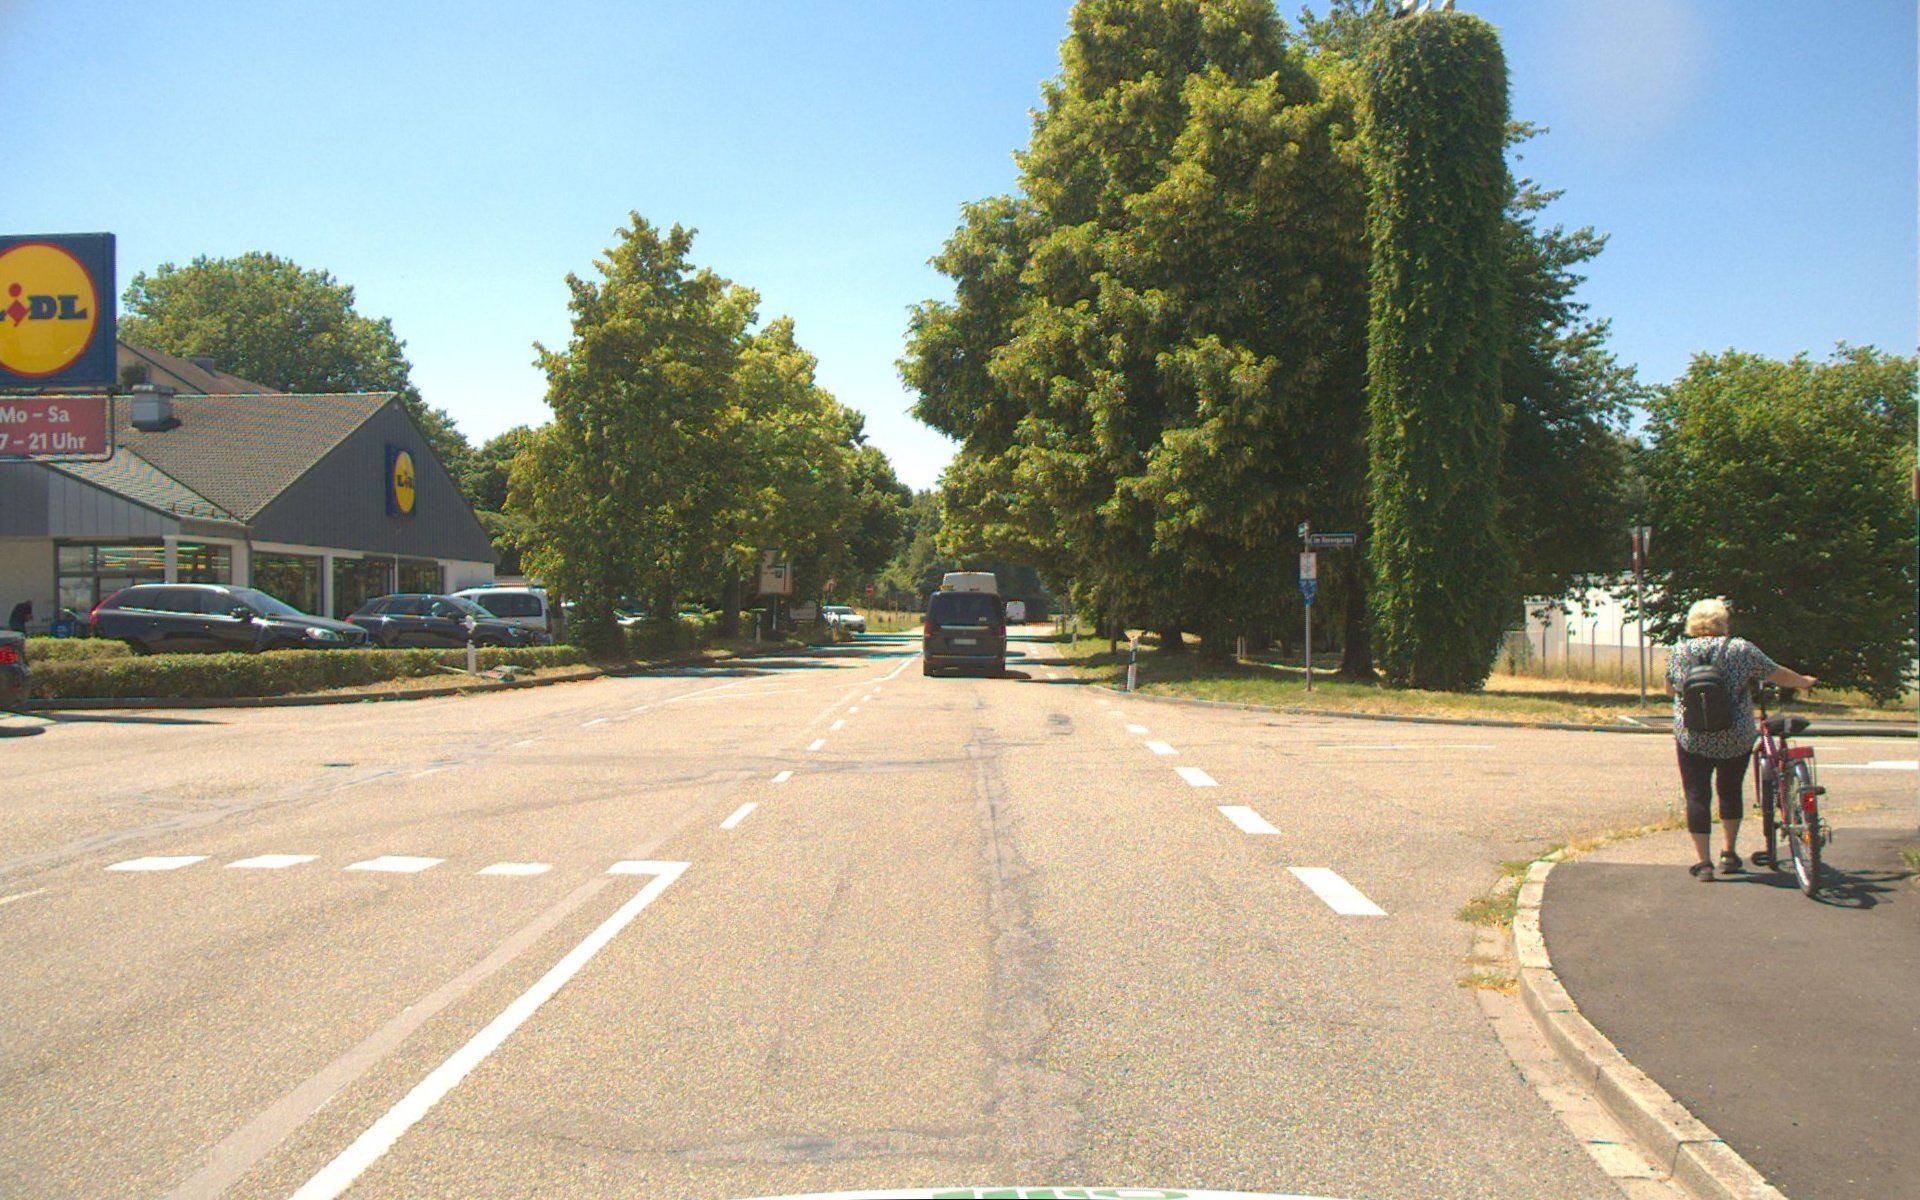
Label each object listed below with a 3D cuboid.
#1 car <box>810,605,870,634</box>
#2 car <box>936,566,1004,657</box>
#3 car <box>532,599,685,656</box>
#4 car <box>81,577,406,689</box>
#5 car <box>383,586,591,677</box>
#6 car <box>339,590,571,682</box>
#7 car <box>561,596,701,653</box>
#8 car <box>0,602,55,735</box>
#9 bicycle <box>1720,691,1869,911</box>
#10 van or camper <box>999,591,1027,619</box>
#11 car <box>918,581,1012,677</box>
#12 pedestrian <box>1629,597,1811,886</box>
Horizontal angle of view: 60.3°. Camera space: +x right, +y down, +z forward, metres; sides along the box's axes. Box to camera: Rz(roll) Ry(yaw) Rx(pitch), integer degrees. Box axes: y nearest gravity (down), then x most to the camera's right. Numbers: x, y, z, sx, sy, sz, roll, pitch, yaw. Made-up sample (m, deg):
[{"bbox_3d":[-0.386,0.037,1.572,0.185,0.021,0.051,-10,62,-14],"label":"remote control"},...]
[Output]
[{"bbox_3d":[-7.204,1.129,98.715,2.069,1.616,4.437,2,-1,-26],"label":"car"},{"bbox_3d":[0.371,0.385,53.975,2.035,2.750,4.667,2,-1,1],"label":"car"},{"bbox_3d":[-10.872,0.847,51.370,4.311,1.648,1.895,1,-1,0],"label":"car"},{"bbox_3d":[-12.177,0.553,28.303,4.608,1.793,2.099,1,-1,5],"label":"car"},{"bbox_3d":[-10.953,0.734,38.540,4.268,2.015,1.904,1,-1,-2],"label":"car"},{"bbox_3d":[-10.879,0.762,35.823,4.292,1.877,2.105,1,-1,7],"label":"car"},{"bbox_3d":[-11.140,0.821,56.239,4.311,1.807,2.072,1,-1,0],"label":"car"},{"bbox_3d":[-12.325,0.710,17.667,4.624,1.425,1.919,1,-1,-30],"label":"car"},{"bbox_3d":[4.212,0.970,8.424,0.370,0.928,1.599,0,0,15],"label":"bicycle"},{"bbox_3d":[5.837,0.617,182.850,2.579,2.980,5.203,1,-1,-3],"label":"van or camper"},{"bbox_3d":[0.166,0.643,37.876,1.952,1.987,5.005,2,-1,1],"label":"car"},{"bbox_3d":[4.027,0.714,8.825,0.752,1.446,0.868,0,-1,15],"label":"pedestrian"}]
